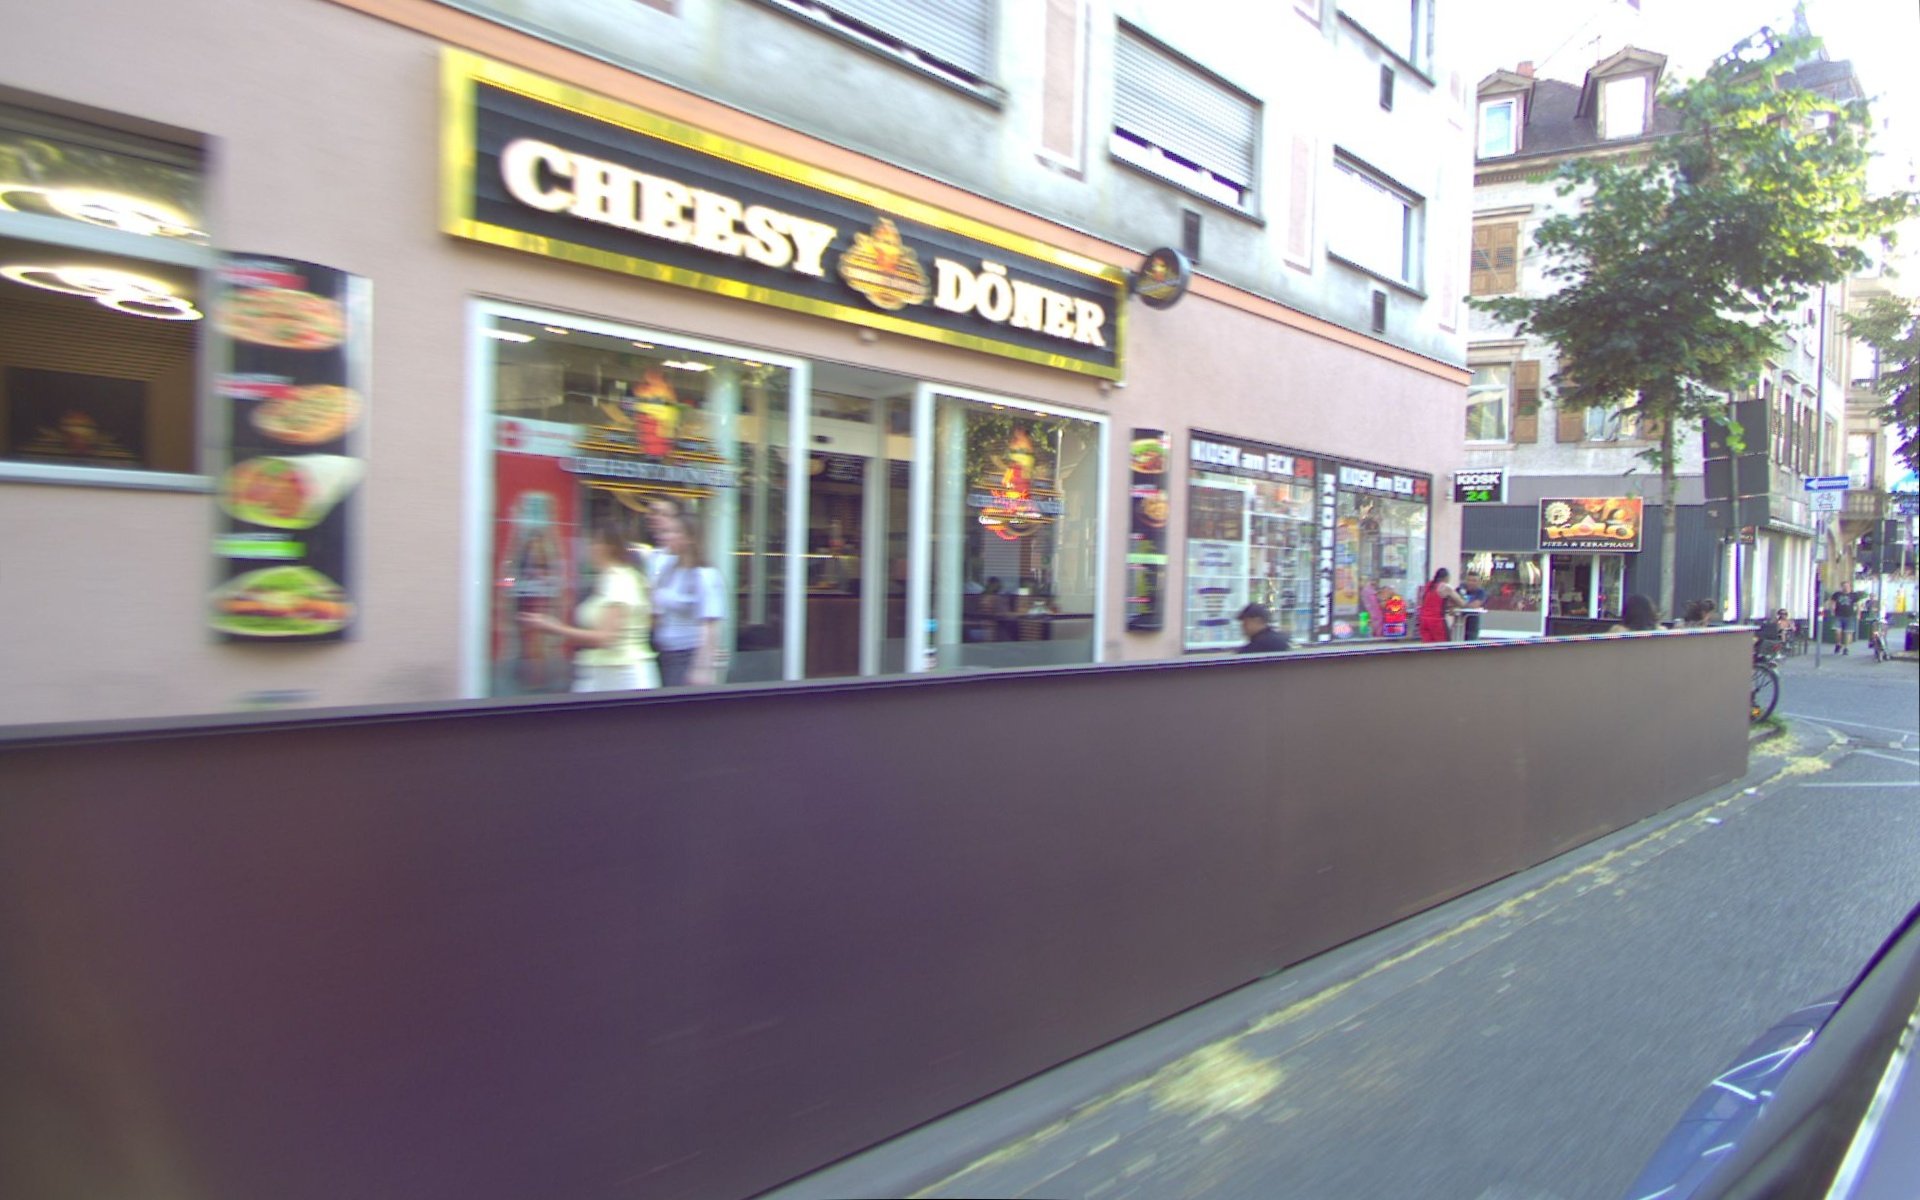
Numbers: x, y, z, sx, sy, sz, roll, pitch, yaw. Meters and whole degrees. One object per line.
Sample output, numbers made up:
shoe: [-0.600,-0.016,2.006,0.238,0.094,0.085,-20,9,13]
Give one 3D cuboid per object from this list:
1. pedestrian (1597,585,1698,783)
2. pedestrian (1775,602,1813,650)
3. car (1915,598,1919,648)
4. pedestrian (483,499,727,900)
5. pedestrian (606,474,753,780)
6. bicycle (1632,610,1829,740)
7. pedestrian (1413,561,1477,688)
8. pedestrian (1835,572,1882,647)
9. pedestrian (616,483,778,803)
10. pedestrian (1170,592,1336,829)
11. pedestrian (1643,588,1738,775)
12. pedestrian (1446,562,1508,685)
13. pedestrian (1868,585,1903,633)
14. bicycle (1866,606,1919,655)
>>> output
pedestrian: [5.483,0.641,8.070,0.538,1.498,0.448,1,3,-39]
pedestrian: [20.593,0.634,25.001,0.636,1.148,0.551,1,3,-39]
car: [28.330,0.650,28.324,4.081,1.369,1.825,0,2,-40]
pedestrian: [-1.659,0.397,4.721,0.840,1.652,0.748,0,1,-41]
pedestrian: [-1.735,0.148,6.261,0.657,1.760,0.607,1,1,-40]
bicycle: [8.453,0.766,11.232,0.469,1.230,2.063,1,1,-4]
pedestrian: [6.499,0.316,13.562,0.563,1.643,0.493,1,3,-39]
pedestrian: [23.587,0.235,26.563,0.743,1.898,0.719,1,3,-39]
pedestrian: [-1.474,0.212,5.666,0.657,1.652,0.607,1,1,-40]
pedestrian: [1.806,0.633,6.270,0.636,1.322,0.687,1,3,-39]
pedestrian: [6.195,0.662,8.583,0.553,1.498,0.448,1,3,-39]
pedestrian: [7.207,0.314,14.102,0.563,1.643,0.493,1,3,-39]
pedestrian: [32.183,0.309,35.203,0.743,1.593,0.719,1,3,-39]
bicycle: [22.367,0.719,24.227,2.021,1.121,0.479,0,1,-33]
